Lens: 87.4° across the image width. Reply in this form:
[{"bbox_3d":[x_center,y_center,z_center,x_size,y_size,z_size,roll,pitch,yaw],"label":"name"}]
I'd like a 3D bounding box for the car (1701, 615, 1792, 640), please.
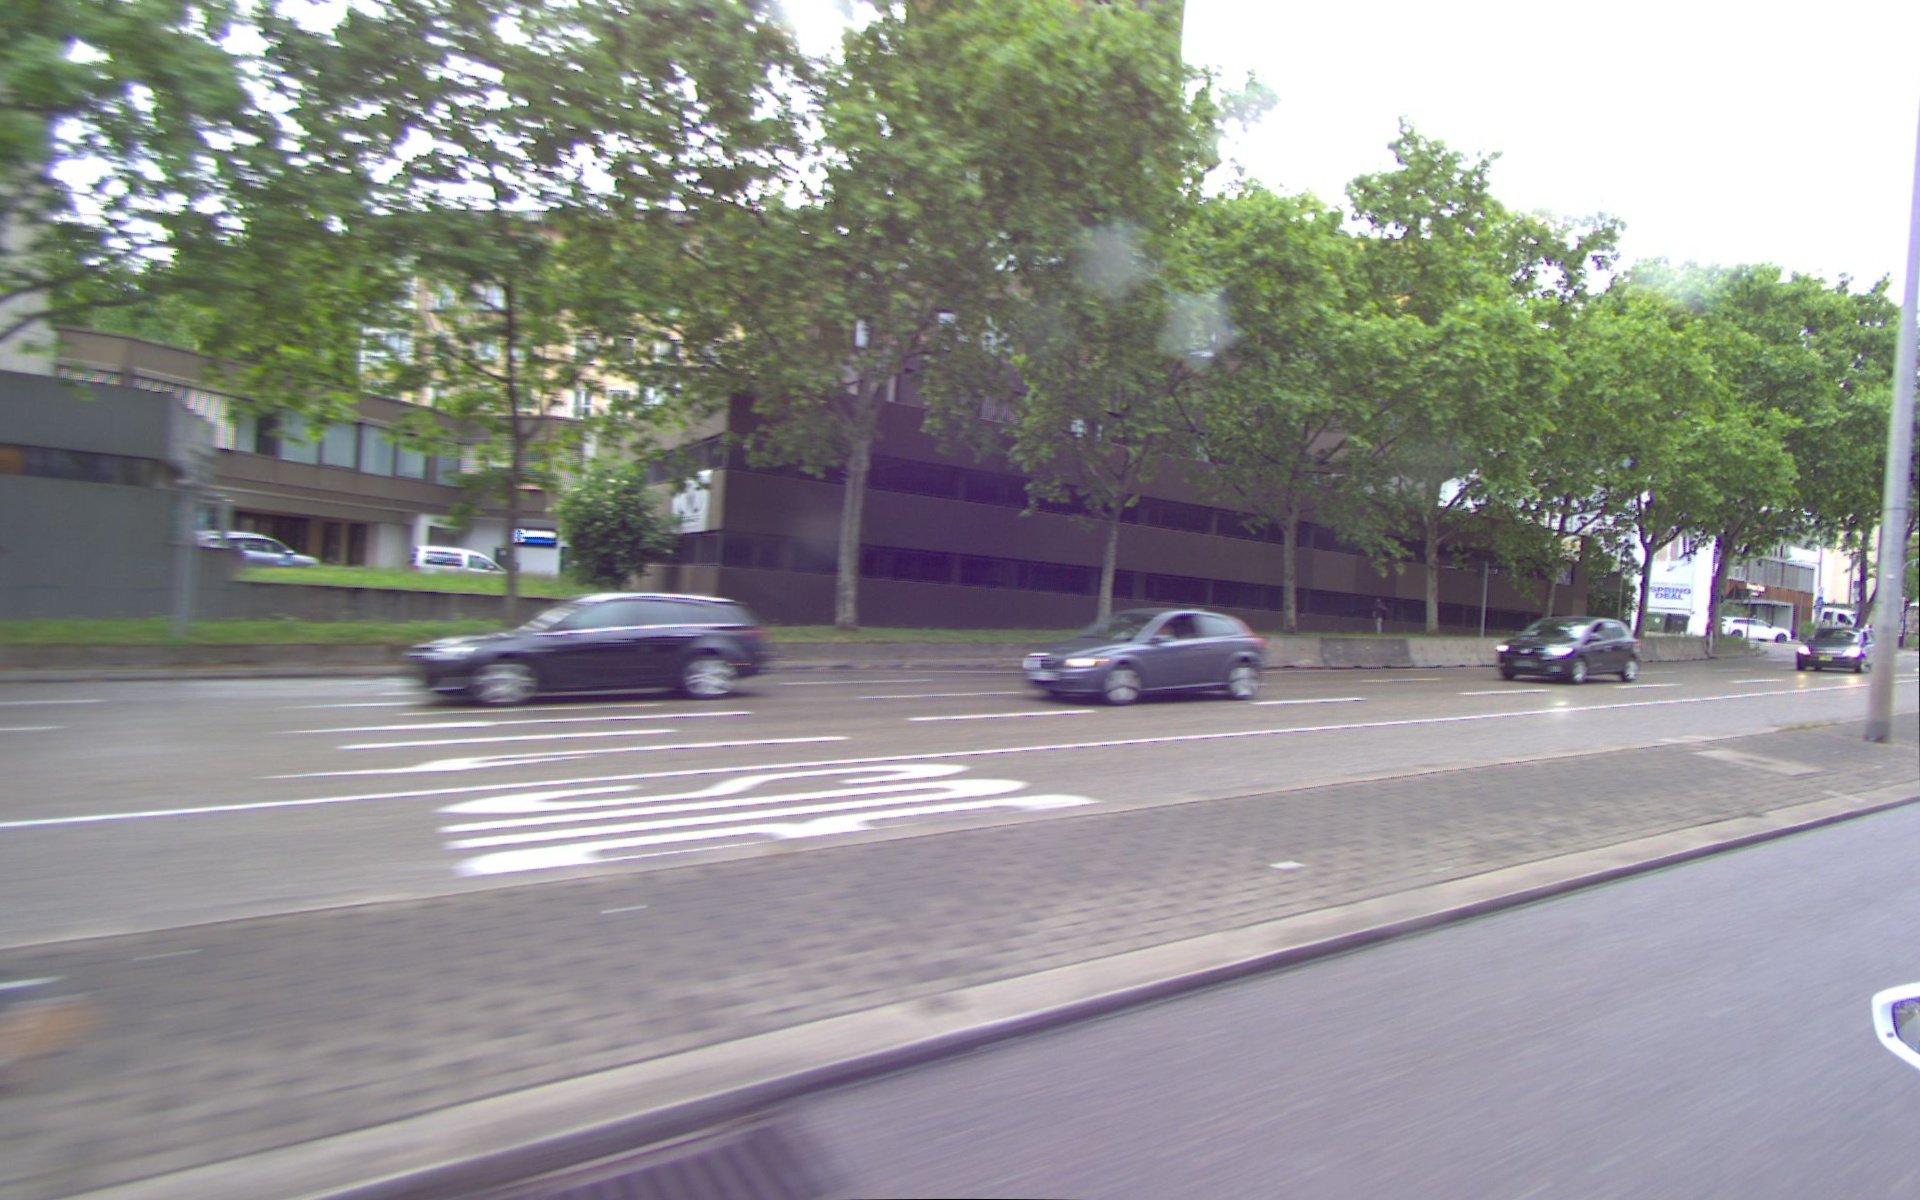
[{"bbox_3d":[52.033,1.824,66.528,4.485,1.530,1.827,2,-1,6],"label":"car"}]

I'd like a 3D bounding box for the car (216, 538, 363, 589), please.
[{"bbox_3d":[-21.452,-1.130,32.286,1.571,1.511,3.755,2,1,19],"label":"car"}]

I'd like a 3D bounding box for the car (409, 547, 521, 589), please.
[{"bbox_3d":[-19.538,-1.249,39.724,3.723,1.511,1.585,0,2,-39],"label":"car"}]

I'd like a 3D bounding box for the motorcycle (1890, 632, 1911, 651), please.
[{"bbox_3d":[70.449,3.092,75.239,2.971,1.274,0.774,1,1,-39],"label":"motorcycle"}]

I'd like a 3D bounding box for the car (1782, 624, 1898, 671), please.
[{"bbox_3d":[29.519,1.605,33.673,3.954,1.421,1.810,3,-2,-31],"label":"car"}]

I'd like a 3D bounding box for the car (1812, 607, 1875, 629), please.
[{"bbox_3d":[73.194,1.477,83.233,1.807,1.723,3.605,3,-2,-35],"label":"car"}]

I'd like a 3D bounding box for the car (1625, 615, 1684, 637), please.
[{"bbox_3d":[48.940,1.860,70.806,3.127,1.445,1.279,2,-1,13],"label":"car"}]

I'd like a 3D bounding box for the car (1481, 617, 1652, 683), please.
[{"bbox_3d":[14.317,1.196,23.686,3.954,1.421,1.810,3,-2,-31],"label":"car"}]

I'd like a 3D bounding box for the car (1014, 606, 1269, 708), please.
[{"bbox_3d":[2.939,0.849,15.980,3.959,1.429,1.676,1,0,-34],"label":"car"}]

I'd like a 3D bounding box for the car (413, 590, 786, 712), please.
[{"bbox_3d":[-4.971,0.657,14.169,4.677,1.466,1.733,2,0,-34],"label":"car"}]
